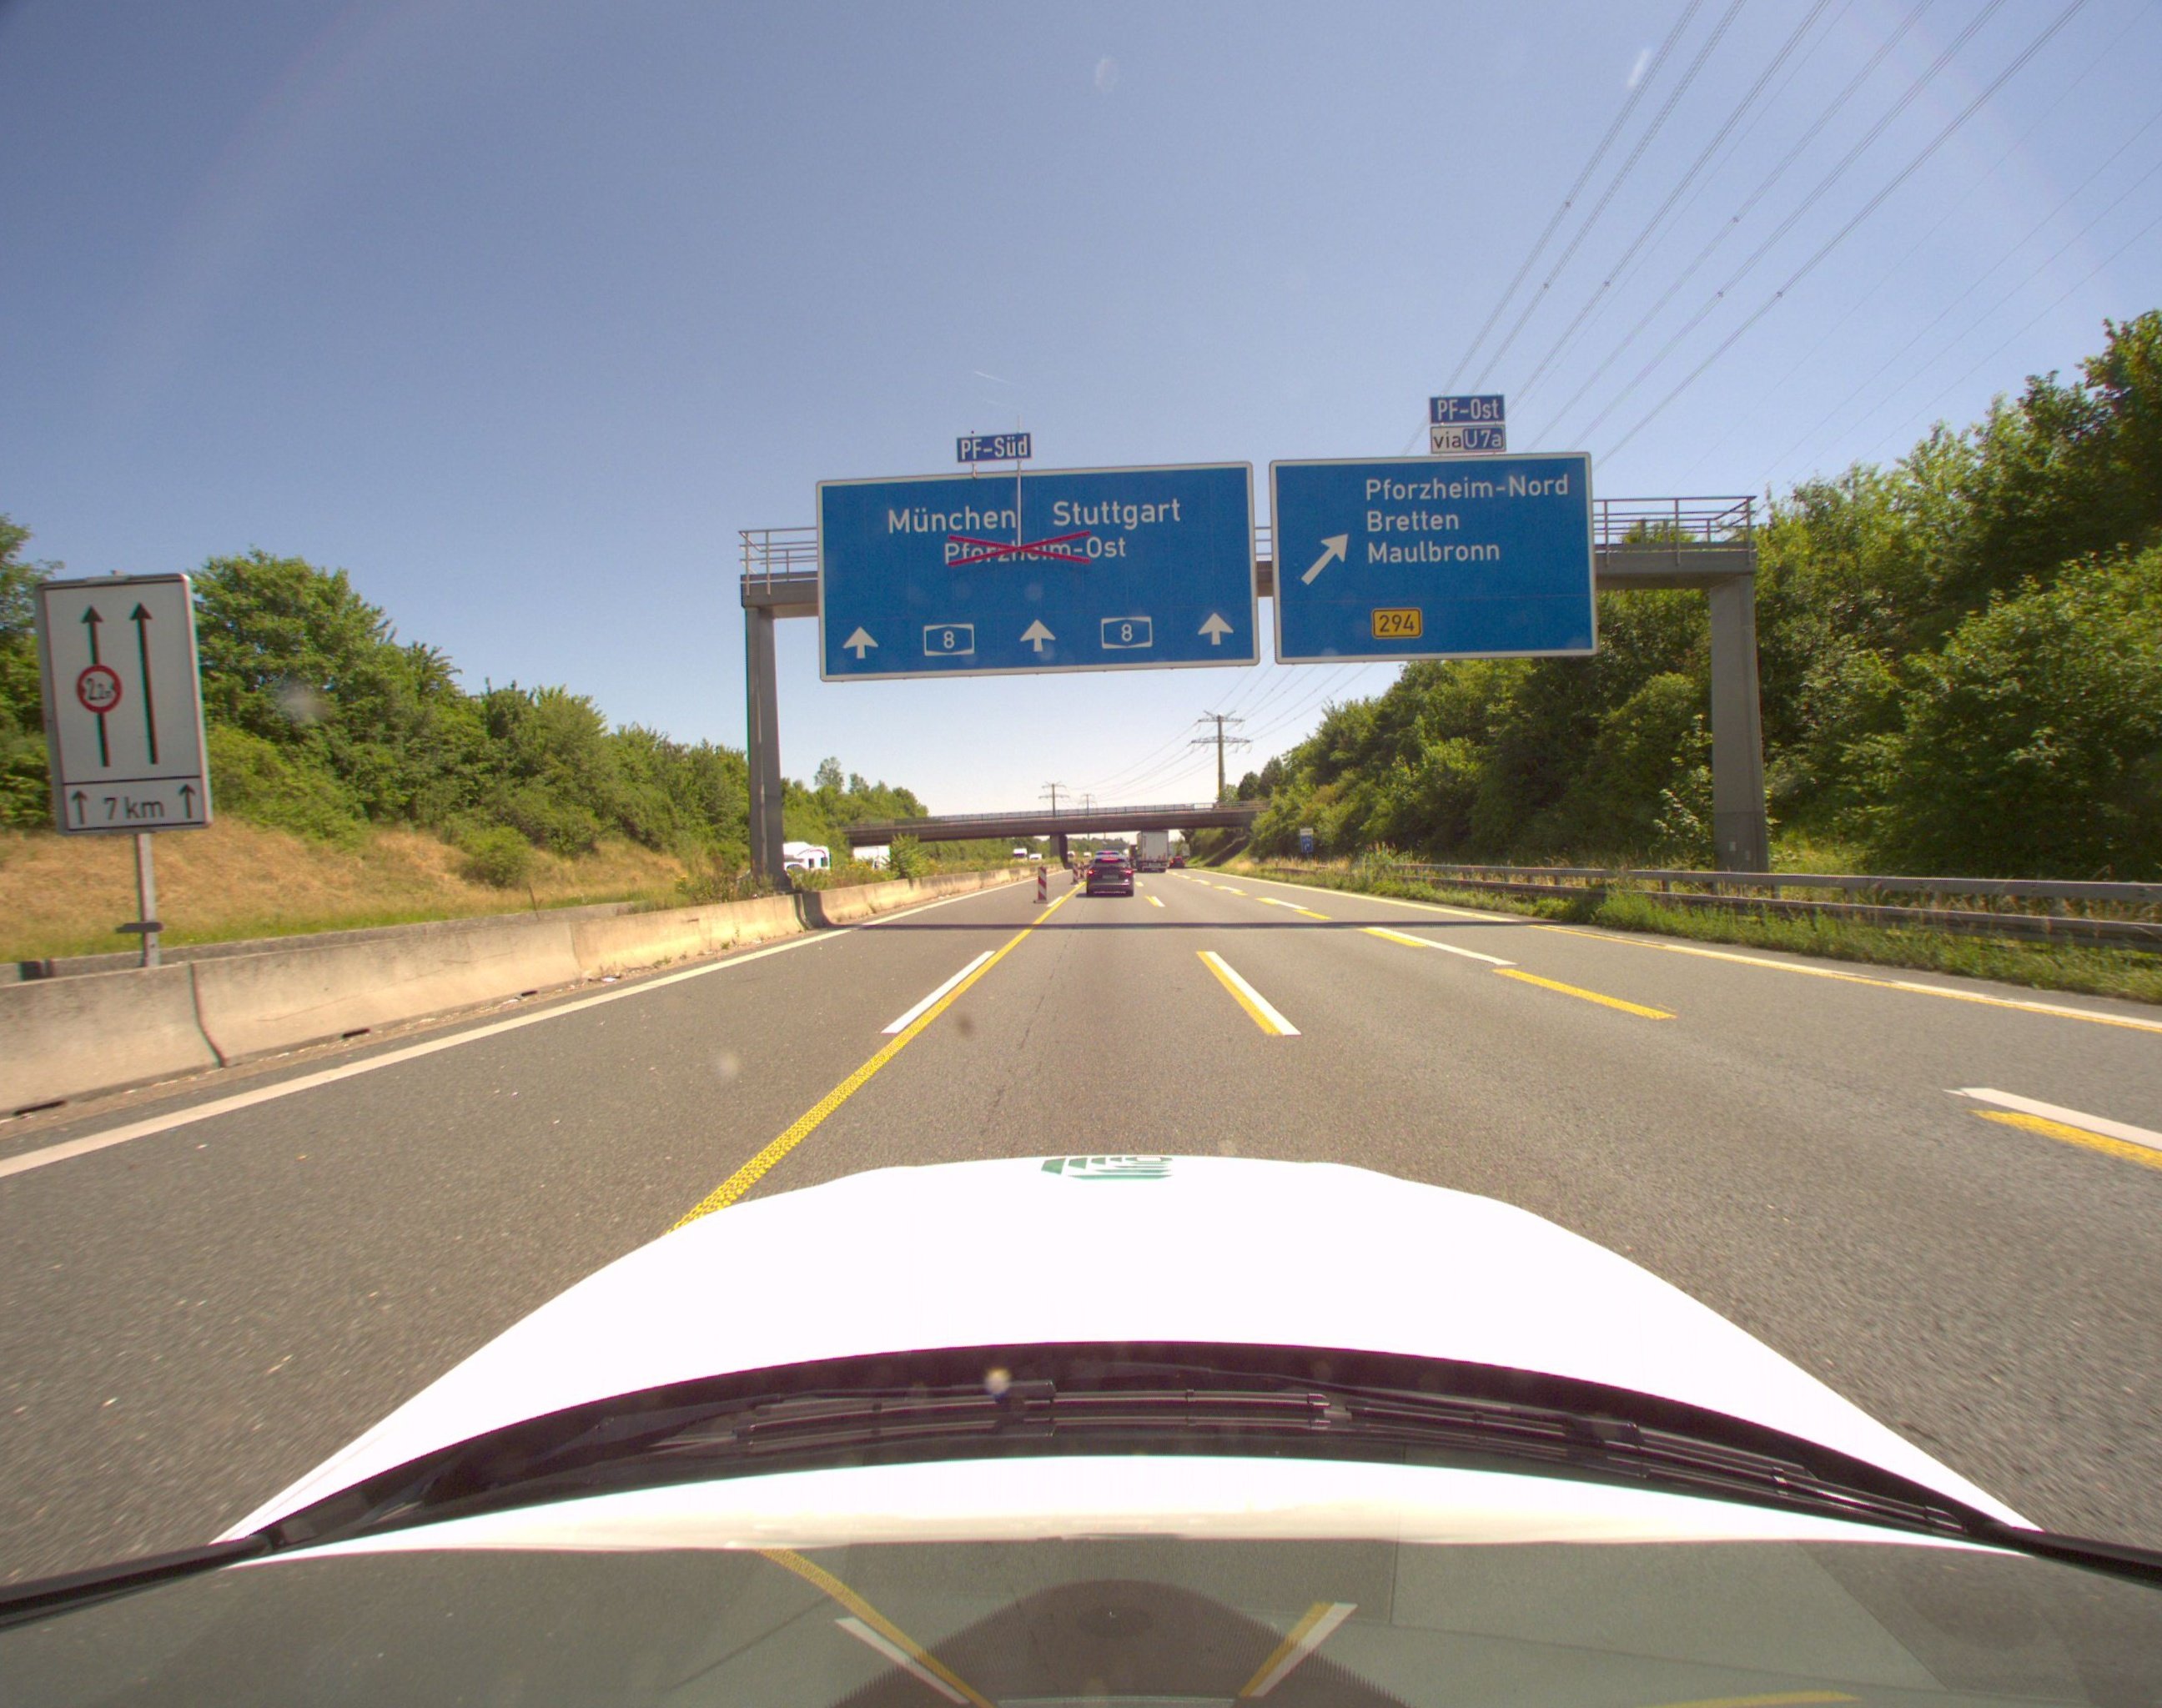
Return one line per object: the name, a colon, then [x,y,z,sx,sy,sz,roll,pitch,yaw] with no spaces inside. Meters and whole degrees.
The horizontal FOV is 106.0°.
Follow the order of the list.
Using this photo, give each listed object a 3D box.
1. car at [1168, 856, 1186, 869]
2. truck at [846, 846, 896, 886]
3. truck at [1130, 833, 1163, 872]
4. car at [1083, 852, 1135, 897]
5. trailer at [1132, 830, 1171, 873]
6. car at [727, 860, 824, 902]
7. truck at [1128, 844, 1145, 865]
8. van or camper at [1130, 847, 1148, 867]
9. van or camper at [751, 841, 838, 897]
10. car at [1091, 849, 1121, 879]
car: [11.915,1.037,101.172,1.772,1.489,4.465,0,0,2]
truck: [-18.570,1.019,72.249,2.486,3.259,6.367,-2,0,2]
truck: [7.071,-0.148,89.123,3.014,4.087,7.796,-1,0,1]
car: [1.085,0.755,32.436,1.889,1.592,4.443,-1,0,1]
trailer: [6.990,-0.209,82.323,3.055,4.042,11.487,-1,0,1]
car: [-11.362,0.948,30.643,1.903,1.455,4.358,0,0,2]
truck: [10.907,0.113,161.249,3.065,4.146,13.064,0,0,3]
van or camper: [8.888,0.475,125.118,2.576,2.968,6.089,-2,0,3]
van or camper: [-17.640,0.870,50.780,2.426,3.147,7.630,-2,0,2]
car: [1.602,0.668,52.878,1.889,1.841,4.443,-1,-1,1]
